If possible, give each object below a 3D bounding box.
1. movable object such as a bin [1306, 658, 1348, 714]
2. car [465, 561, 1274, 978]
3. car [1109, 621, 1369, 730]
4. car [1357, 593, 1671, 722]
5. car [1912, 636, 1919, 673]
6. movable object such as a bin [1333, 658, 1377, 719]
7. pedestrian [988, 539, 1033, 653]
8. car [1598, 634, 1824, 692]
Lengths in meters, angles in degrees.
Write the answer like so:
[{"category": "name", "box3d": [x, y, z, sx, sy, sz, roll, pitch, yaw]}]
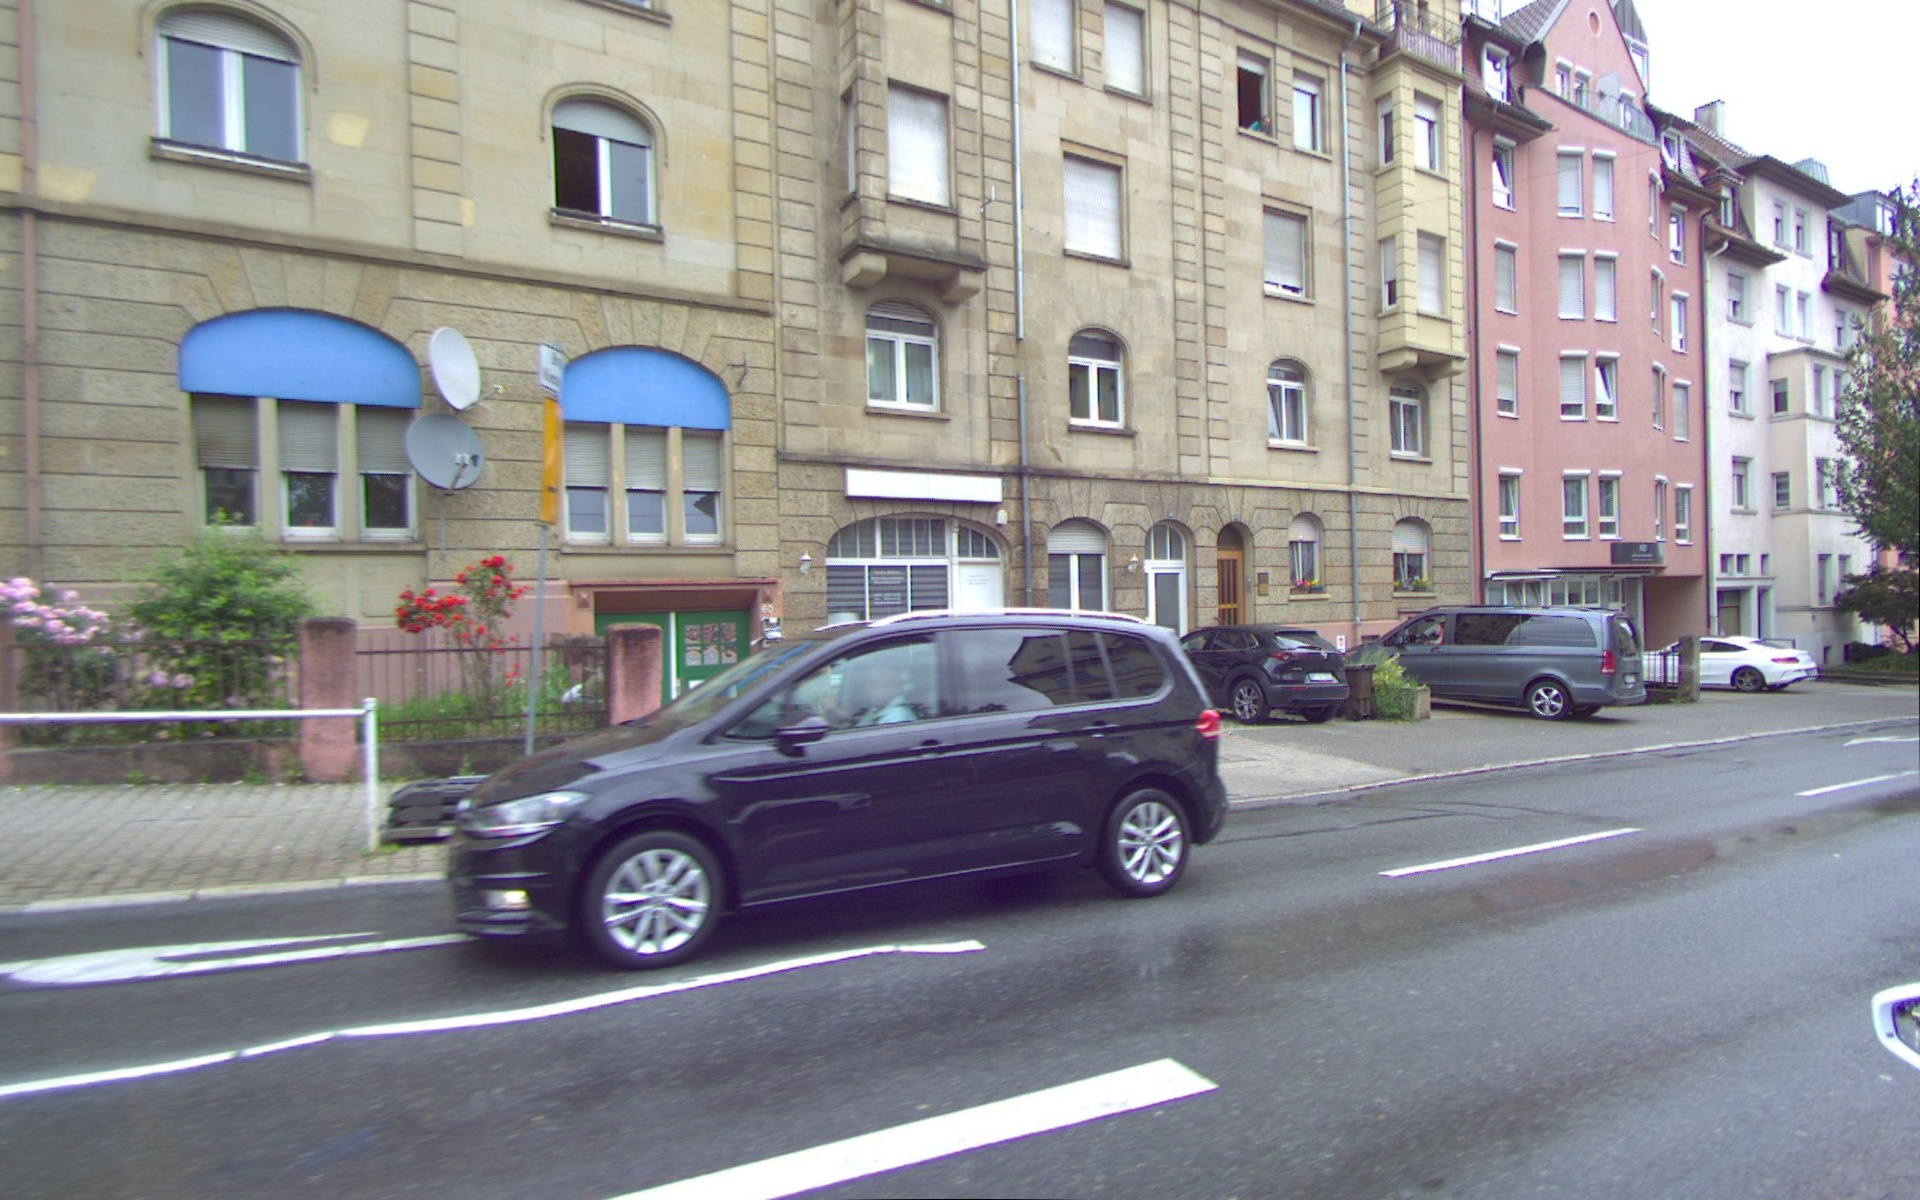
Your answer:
[{"category": "movable object such as a bin", "box3d": [6.342, 1.477, 17.364, 0.435, 0.916, 0.503, 1, 1, -26]}, {"category": "car", "box3d": [-0.406, 0.754, 5.790, 4.363, 1.670, 1.615, 1, -3, -28]}, {"category": "car", "box3d": [4.540, 1.152, 16.961, 1.851, 1.531, 4.127, 1, 0, -30]}, {"category": "car", "box3d": [9.901, 0.905, 18.277, 1.848, 1.965, 4.634, 0, 1, -40]}, {"category": "car", "box3d": [39.352, 2.105, 38.561, 1.776, 1.476, 3.852, 2, -3, -38]}, {"category": "movable object such as a bin", "box3d": [6.647, 1.483, 16.907, 0.435, 0.963, 0.503, 1, 1, -26]}, {"category": "pedestrian", "box3d": [0.813, -0.062, 16.225, 0.557, 1.801, 0.476, 1, 1, -23]}, {"category": "car", "box3d": [19.933, 1.626, 26.891, 1.747, 1.419, 4.525, 1, -2, -31]}]
